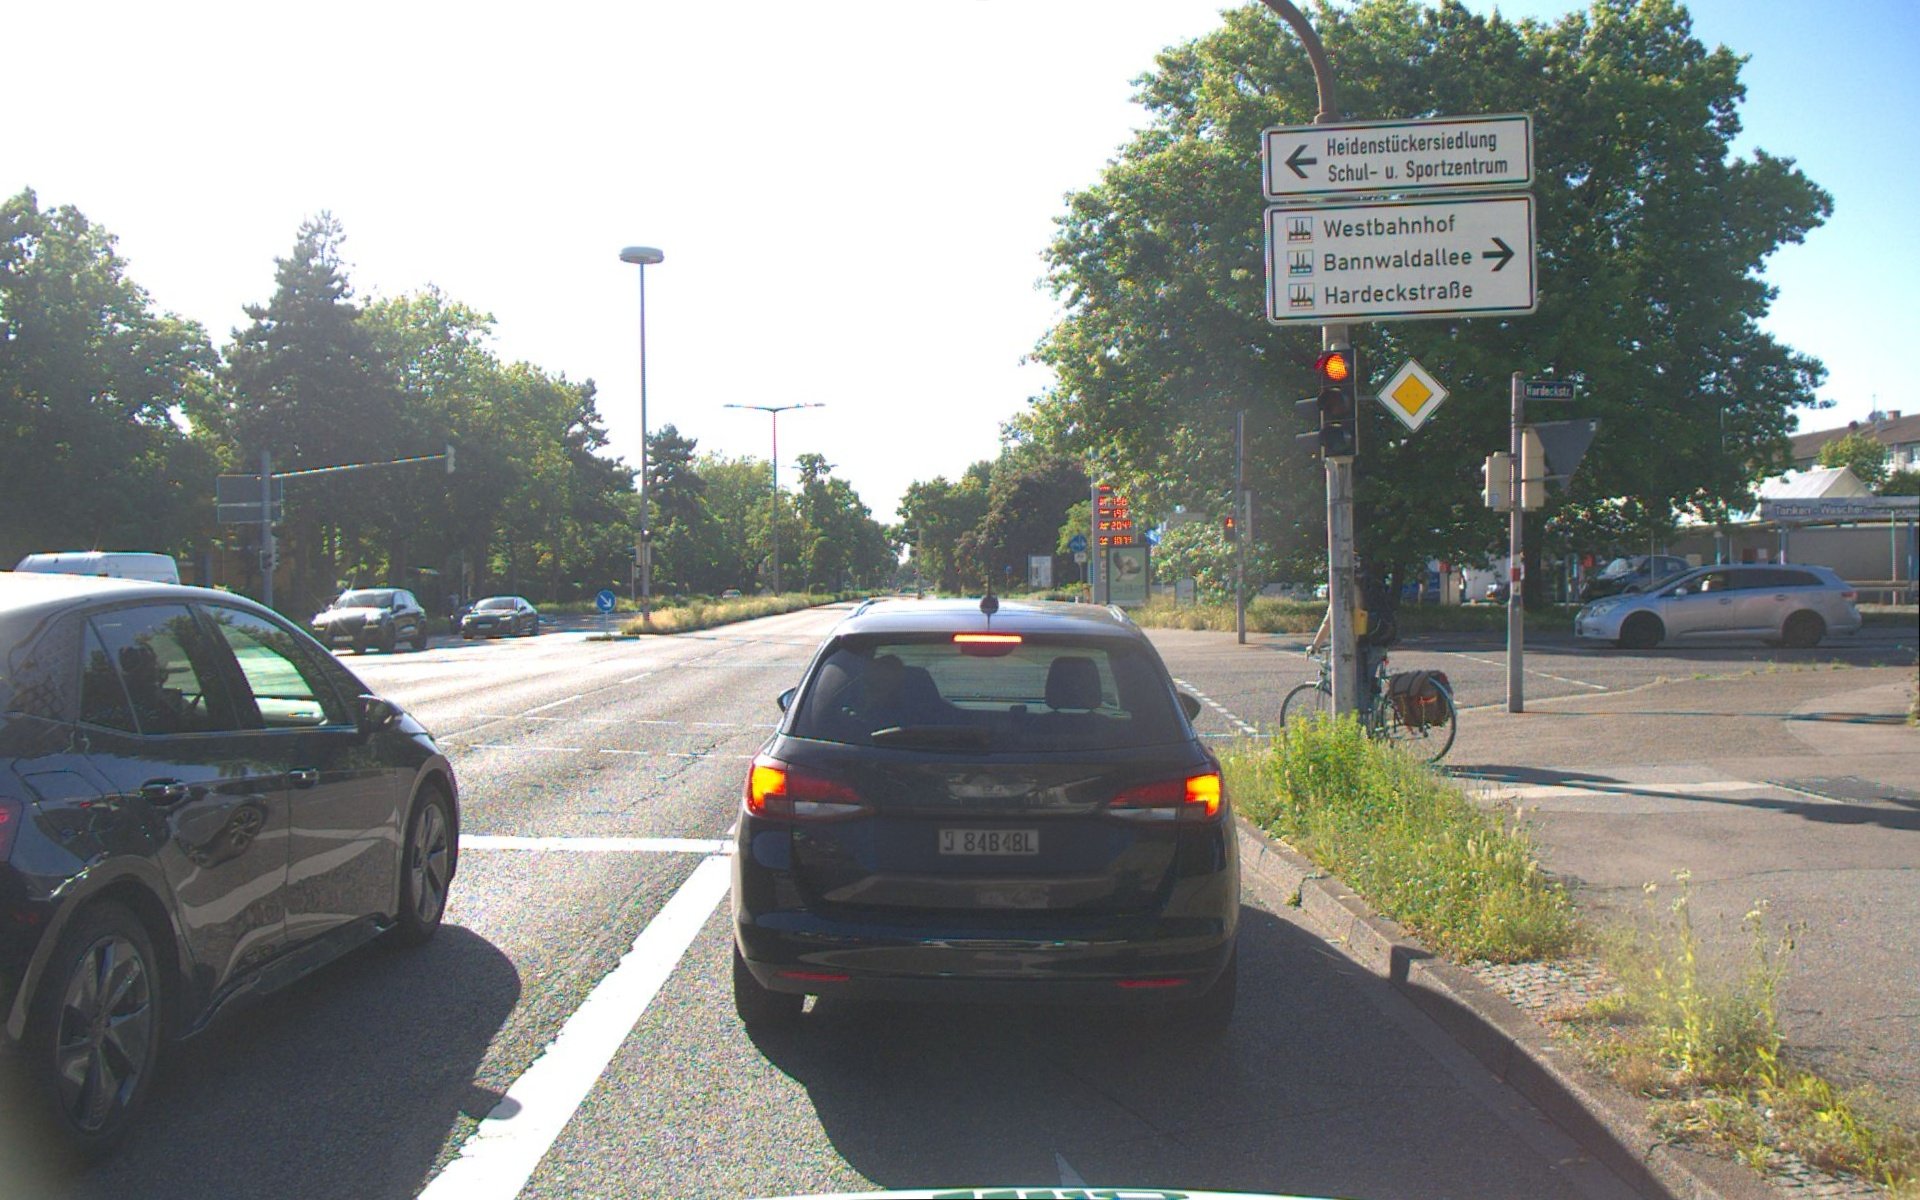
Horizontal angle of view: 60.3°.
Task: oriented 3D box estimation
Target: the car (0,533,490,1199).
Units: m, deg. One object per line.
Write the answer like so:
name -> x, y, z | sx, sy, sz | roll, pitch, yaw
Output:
car -> -2.996, 0.654, 5.609 | 1.650, 1.608, 4.206 | 0, 0, -1

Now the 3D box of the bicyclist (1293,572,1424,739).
bicyclist -> 3.218, 0.446, 13.373 | 0.534, 1.299, 0.816 | -2, -2, -44

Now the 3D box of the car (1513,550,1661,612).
car -> 18.959, -0.573, 50.013 | 3.935, 1.780, 1.985 | -1, 1, -24

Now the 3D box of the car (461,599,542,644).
car -> -16.276, 0.741, 58.923 | 1.740, 1.488, 4.164 | -1, 0, -1

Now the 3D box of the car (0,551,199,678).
car -> -19.156, 0.284, 36.415 | 2.057, 2.536, 6.003 | -1, 0, -1

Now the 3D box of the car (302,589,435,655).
car -> -15.886, 0.552, 44.687 | 1.953, 1.629, 4.615 | -1, 0, -1

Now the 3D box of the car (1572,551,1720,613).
car -> 19.993, -0.535, 48.199 | 3.934, 1.709, 1.732 | -2, 0, -24

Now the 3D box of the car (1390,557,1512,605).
car -> 16.914, -0.652, 56.988 | 3.837, 1.544, 1.732 | -2, 0, -24

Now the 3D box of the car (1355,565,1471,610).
car -> 16.437, -0.464, 60.063 | 3.837, 1.544, 1.732 | -2, 0, -24

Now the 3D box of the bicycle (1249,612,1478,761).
bicycle -> 3.229, 0.697, 13.374 | 0.533, 1.117, 1.748 | -2, -2, -44

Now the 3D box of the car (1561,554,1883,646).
car -> 13.541, 0.004, 29.707 | 4.897, 1.512, 2.002 | -1, 0, 11

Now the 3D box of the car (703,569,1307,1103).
car -> 0.105, 0.681, 6.841 | 1.721, 1.521, 4.206 | 0, 0, -1

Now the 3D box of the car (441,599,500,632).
car -> -20.327, 0.635, 68.796 | 1.361, 1.256, 3.635 | -1, 0, -1

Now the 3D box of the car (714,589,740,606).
car -> -22.472, -0.288, 159.762 | 1.953, 1.556, 3.999 | -2, 0, -1
